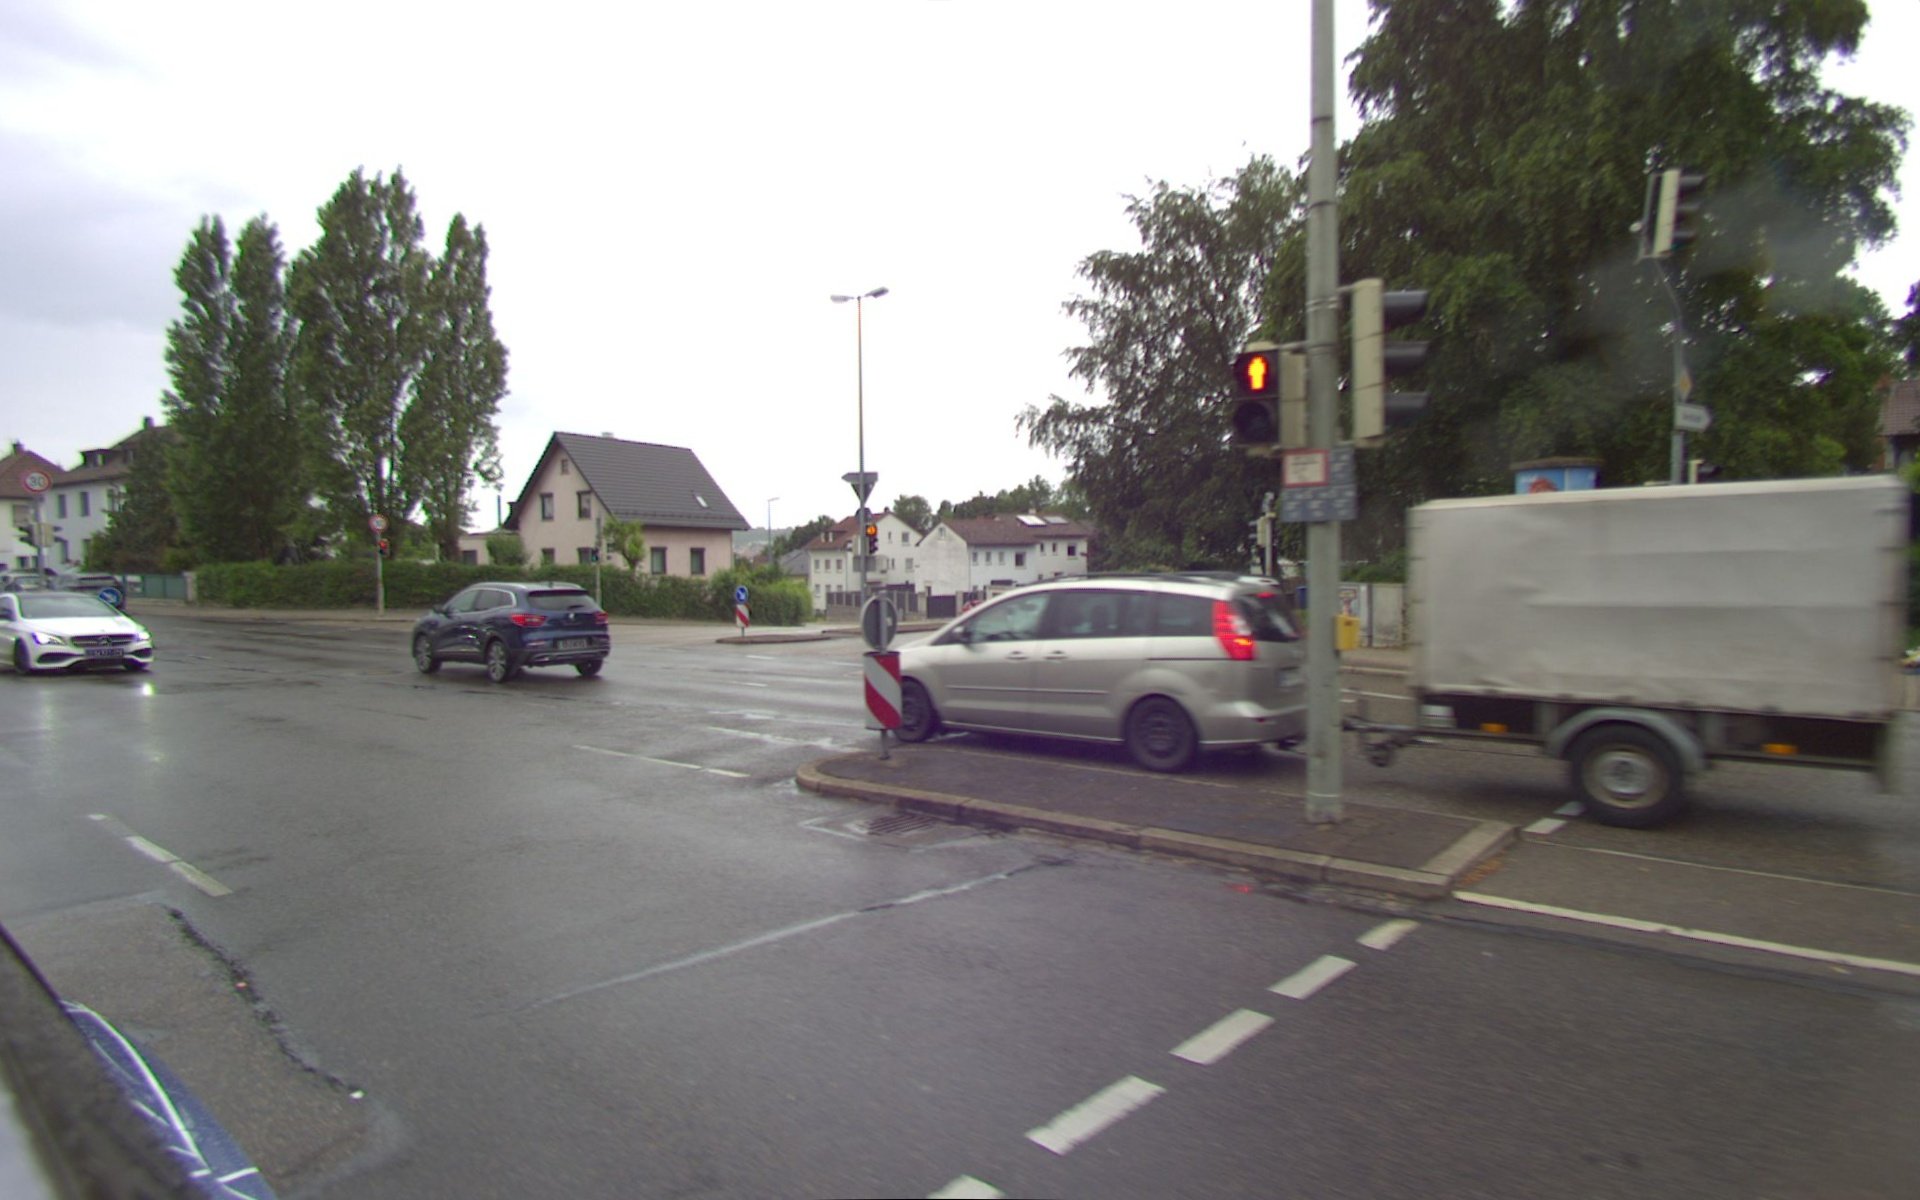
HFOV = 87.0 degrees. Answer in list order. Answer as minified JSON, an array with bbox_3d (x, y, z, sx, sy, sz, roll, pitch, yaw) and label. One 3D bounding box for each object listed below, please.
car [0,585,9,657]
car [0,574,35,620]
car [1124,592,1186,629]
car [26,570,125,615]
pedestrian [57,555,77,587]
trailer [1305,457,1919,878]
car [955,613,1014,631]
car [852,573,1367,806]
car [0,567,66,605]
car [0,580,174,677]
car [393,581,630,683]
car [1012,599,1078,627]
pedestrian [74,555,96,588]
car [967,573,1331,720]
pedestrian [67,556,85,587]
[{"bbox_3d":[-22.091,0.415,21.756,4.053,1.498,1.818,2,1,38],"label":"car"},{"bbox_3d":[-35.849,-0.144,37.084,3.988,1.586,1.978,2,1,33],"label":"car"},{"bbox_3d":[9.584,0.511,50.028,1.909,1.717,4.201,1,0,-5],"label":"car"},{"bbox_3d":[-35.733,-0.347,40.875,4.583,1.682,1.791,2,2,32],"label":"car"},{"bbox_3d":[-51.252,-1.669,58.091,0.538,1.801,0.663,1,5,35],"label":"pedestrian"},{"bbox_3d":[4.636,0.341,6.770,4.031,2.195,1.878,0,1,39],"label":"trailer"},{"bbox_3d":[1.841,1.644,76.783,4.022,1.298,1.914,1,0,-25],"label":"car"},{"bbox_3d":[1.235,0.623,9.504,4.474,1.695,1.881,1,1,39],"label":"car"},{"bbox_3d":[-41.069,-0.630,44.339,4.129,1.580,1.791,2,2,32],"label":"car"},{"bbox_3d":[-16.513,0.425,18.386,4.632,1.540,1.896,1,1,29],"label":"car"},{"bbox_3d":[-7.831,0.460,17.530,4.375,1.563,1.825,1,0,36],"label":"car"},{"bbox_3d":[5.826,0.912,69.063,4.022,1.863,1.945,1,0,-21],"label":"car"},{"bbox_3d":[-50.390,-1.650,58.310,0.685,1.880,0.726,2,5,37],"label":"pedestrian"},{"bbox_3d":[2.424,0.500,13.539,4.458,1.669,1.807,1,0,36],"label":"car"},{"bbox_3d":[-52.516,-1.694,60.114,0.643,1.800,0.649,-4,3,-35],"label":"pedestrian"}]
